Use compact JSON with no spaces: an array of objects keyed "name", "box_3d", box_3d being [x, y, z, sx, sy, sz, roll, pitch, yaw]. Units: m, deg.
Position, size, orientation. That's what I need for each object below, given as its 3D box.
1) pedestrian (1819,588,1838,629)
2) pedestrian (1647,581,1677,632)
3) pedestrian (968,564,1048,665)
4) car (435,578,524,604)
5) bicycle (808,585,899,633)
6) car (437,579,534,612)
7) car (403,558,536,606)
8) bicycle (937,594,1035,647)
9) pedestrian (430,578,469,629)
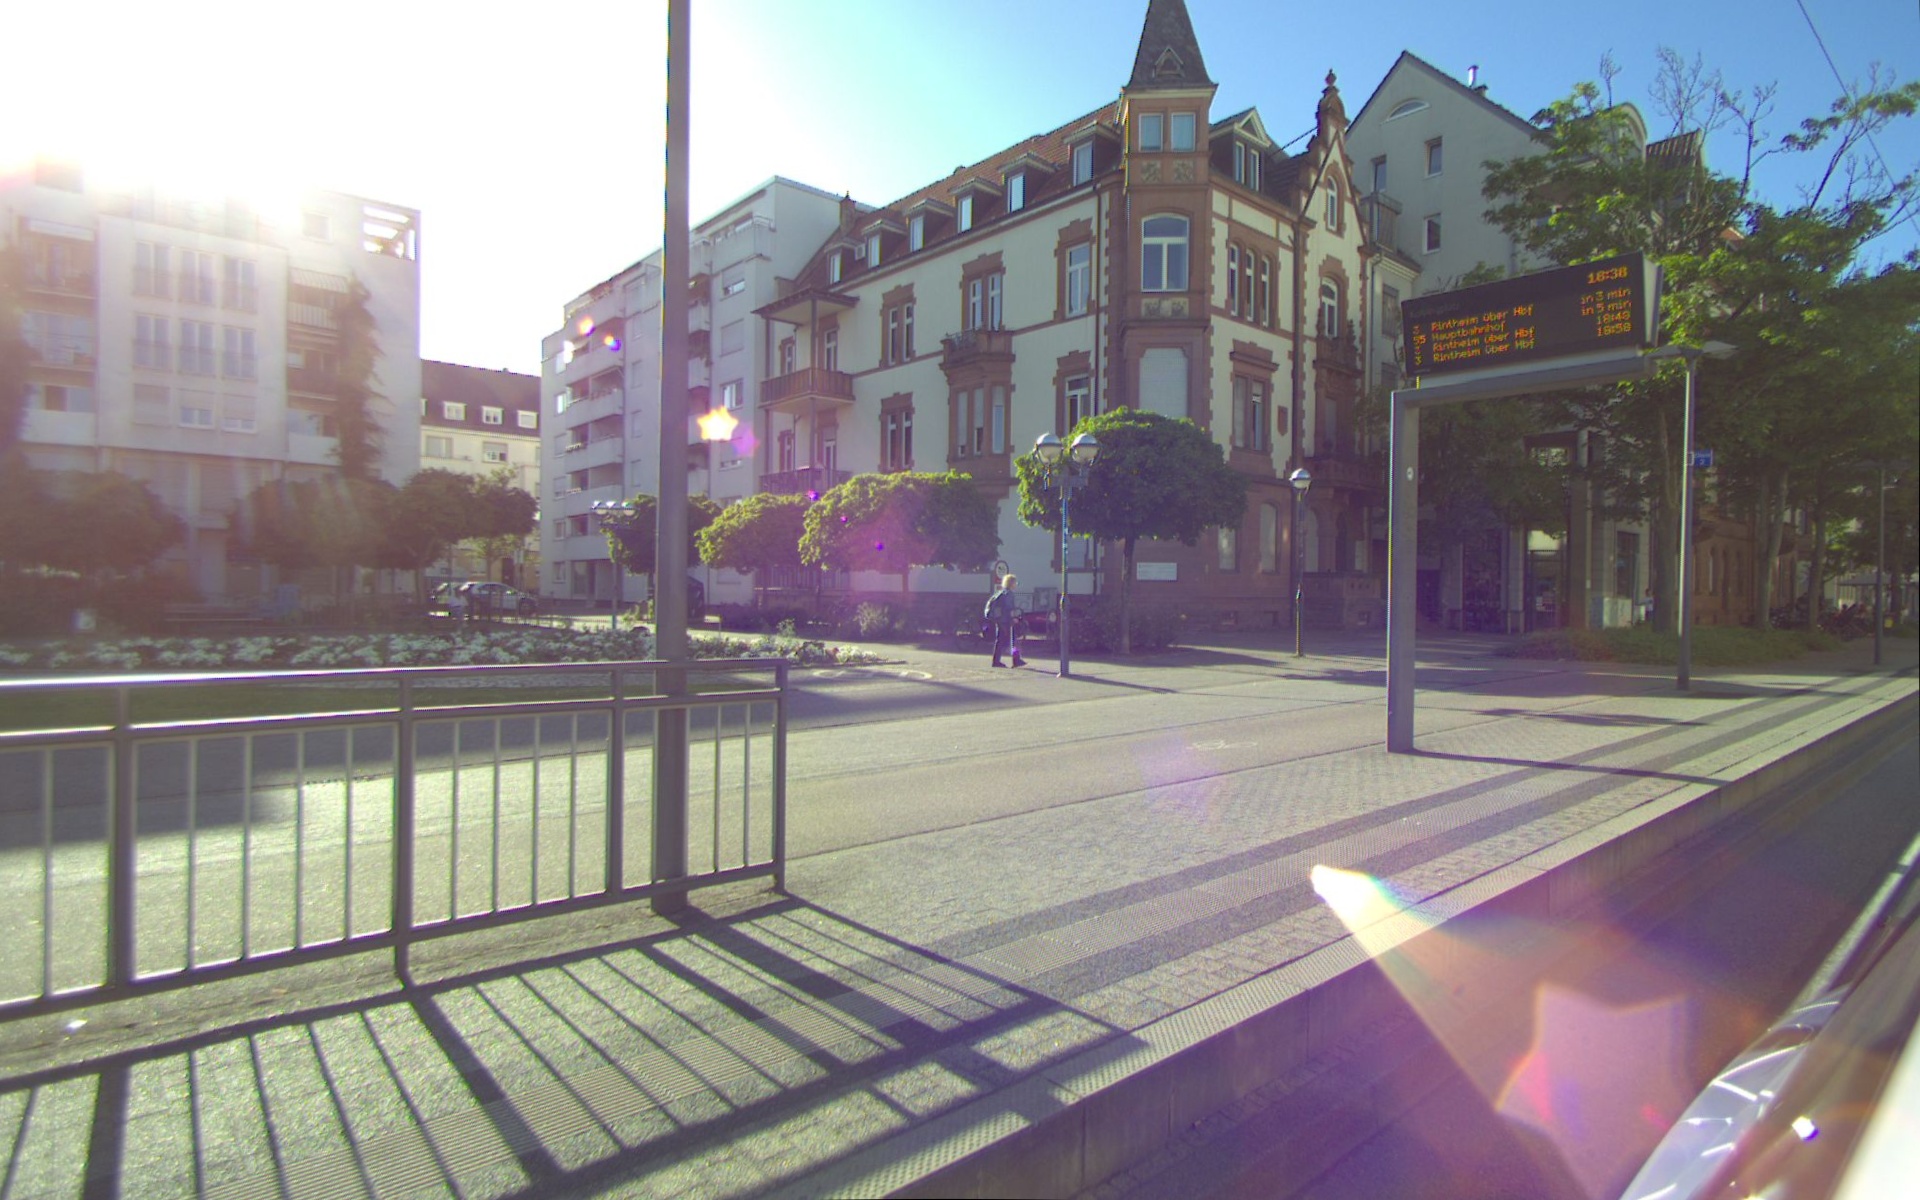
[{"name":"pedestrian","box_3d":[44.392,0.423,51.734,0.549,2.039,0.654,0,0,-38]},{"name":"pedestrian","box_3d":[24.452,0.224,35.270,0.740,1.757,0.864,1,0,43]},{"name":"pedestrian","box_3d":[0.842,0.228,17.697,1.064,1.689,0.944,1,0,37]},{"name":"car","box_3d":[-24.830,-0.468,52.360,3.923,1.304,2.001,0,1,-34]},{"name":"bicycle","box_3d":[-3.229,0.254,30.918,2.864,1.389,0.745,0,1,-41]},{"name":"car","box_3d":[-22.484,-0.219,47.976,3.923,1.536,2.001,0,1,-34]},{"name":"car","box_3d":[-27.879,-0.986,57.707,2.807,2.587,6.293,1,1,45]},{"name":"bicycle","box_3d":[0.664,0.455,24.115,0.786,1.081,2.767,1,2,40]},{"name":"pedestrian","box_3d":[-14.815,0.078,29.361,0.917,1.429,1.529,0,1,-30]}]
